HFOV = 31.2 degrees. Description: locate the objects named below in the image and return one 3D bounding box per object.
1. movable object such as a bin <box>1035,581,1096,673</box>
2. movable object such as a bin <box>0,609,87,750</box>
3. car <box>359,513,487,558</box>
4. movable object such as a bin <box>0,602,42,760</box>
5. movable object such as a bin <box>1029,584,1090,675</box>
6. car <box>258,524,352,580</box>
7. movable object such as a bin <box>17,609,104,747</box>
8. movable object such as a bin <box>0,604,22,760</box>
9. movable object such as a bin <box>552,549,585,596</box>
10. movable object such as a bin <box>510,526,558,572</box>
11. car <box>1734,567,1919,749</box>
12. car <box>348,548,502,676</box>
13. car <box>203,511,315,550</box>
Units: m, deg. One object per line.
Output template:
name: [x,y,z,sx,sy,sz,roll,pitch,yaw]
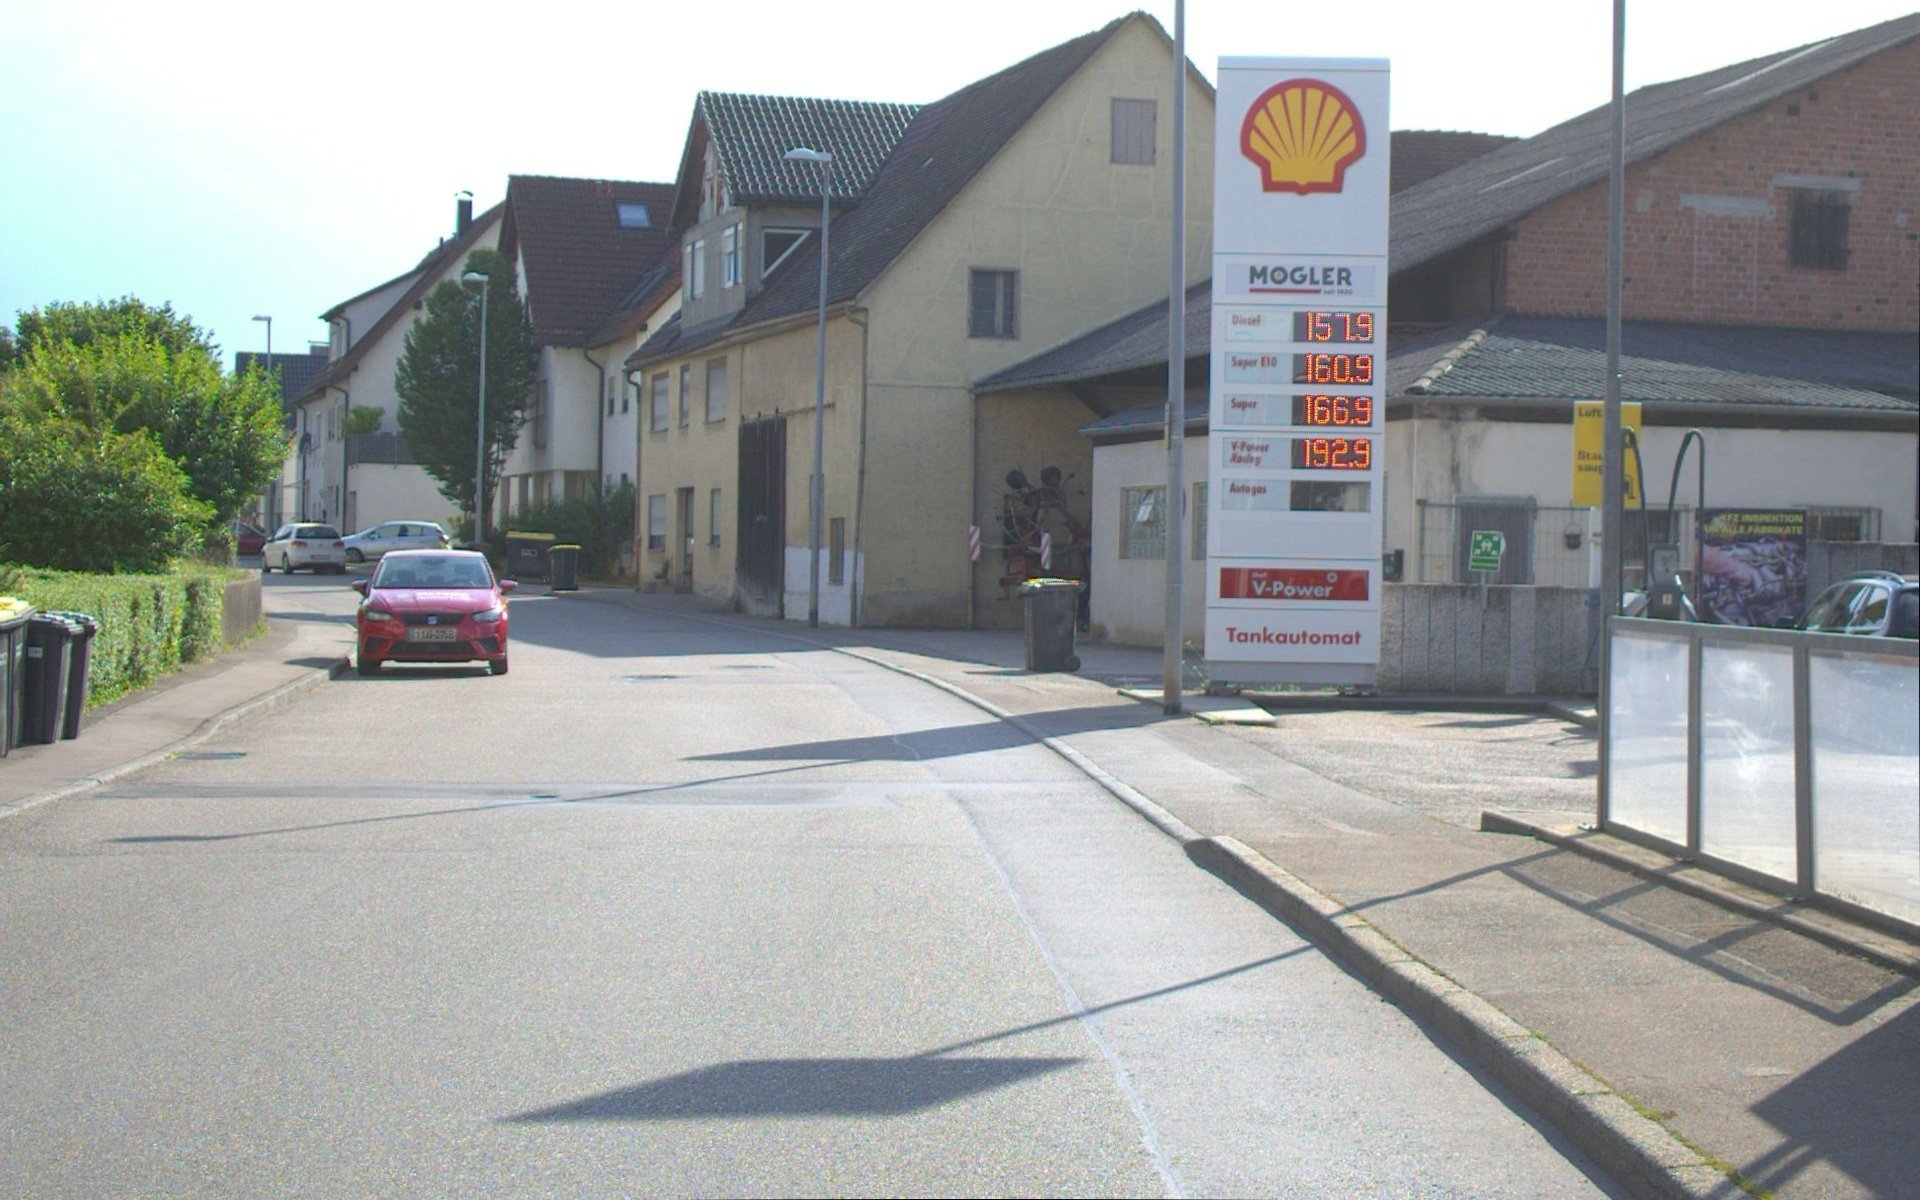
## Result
movable object such as a bin: [1.249,0.319,40.791,0.653,1.070,0.513,1,1,-4]
movable object such as a bin: [-6.793,0.586,25.472,0.531,1.019,0.457,-1,1,-2]
car: [-17.196,-2.059,109.994,3.986,1.348,1.711,1,1,-10]
movable object such as a bin: [-7.001,0.579,24.809,0.588,1.118,0.617,-1,1,-2]
movable object such as a bin: [1.194,0.348,41.356,0.653,1.070,0.513,1,1,-4]
car: [-19.077,-1.401,99.997,1.704,1.573,4.001,1,1,-25]
movable object such as a bin: [-6.788,0.583,25.957,0.531,1.019,0.457,-1,1,-2]
movable object such as a bin: [-6.975,0.576,24.216,0.588,1.080,0.530,-1,1,-2]
movable object such as a bin: [-9.076,-0.633,79.716,0.652,1.070,0.513,1,1,-17]
movable object such as a bin: [-11.092,-1.323,89.590,1.160,1.164,0.655,1,1,-13]
car: [8.161,0.471,30.030,1.578,1.422,4.382,2,1,-3]
car: [-6.344,0.119,40.703,1.708,1.430,3.781,0,1,-9]
car: [-26.218,-2.603,128.551,3.986,1.348,1.711,1,1,-16]
